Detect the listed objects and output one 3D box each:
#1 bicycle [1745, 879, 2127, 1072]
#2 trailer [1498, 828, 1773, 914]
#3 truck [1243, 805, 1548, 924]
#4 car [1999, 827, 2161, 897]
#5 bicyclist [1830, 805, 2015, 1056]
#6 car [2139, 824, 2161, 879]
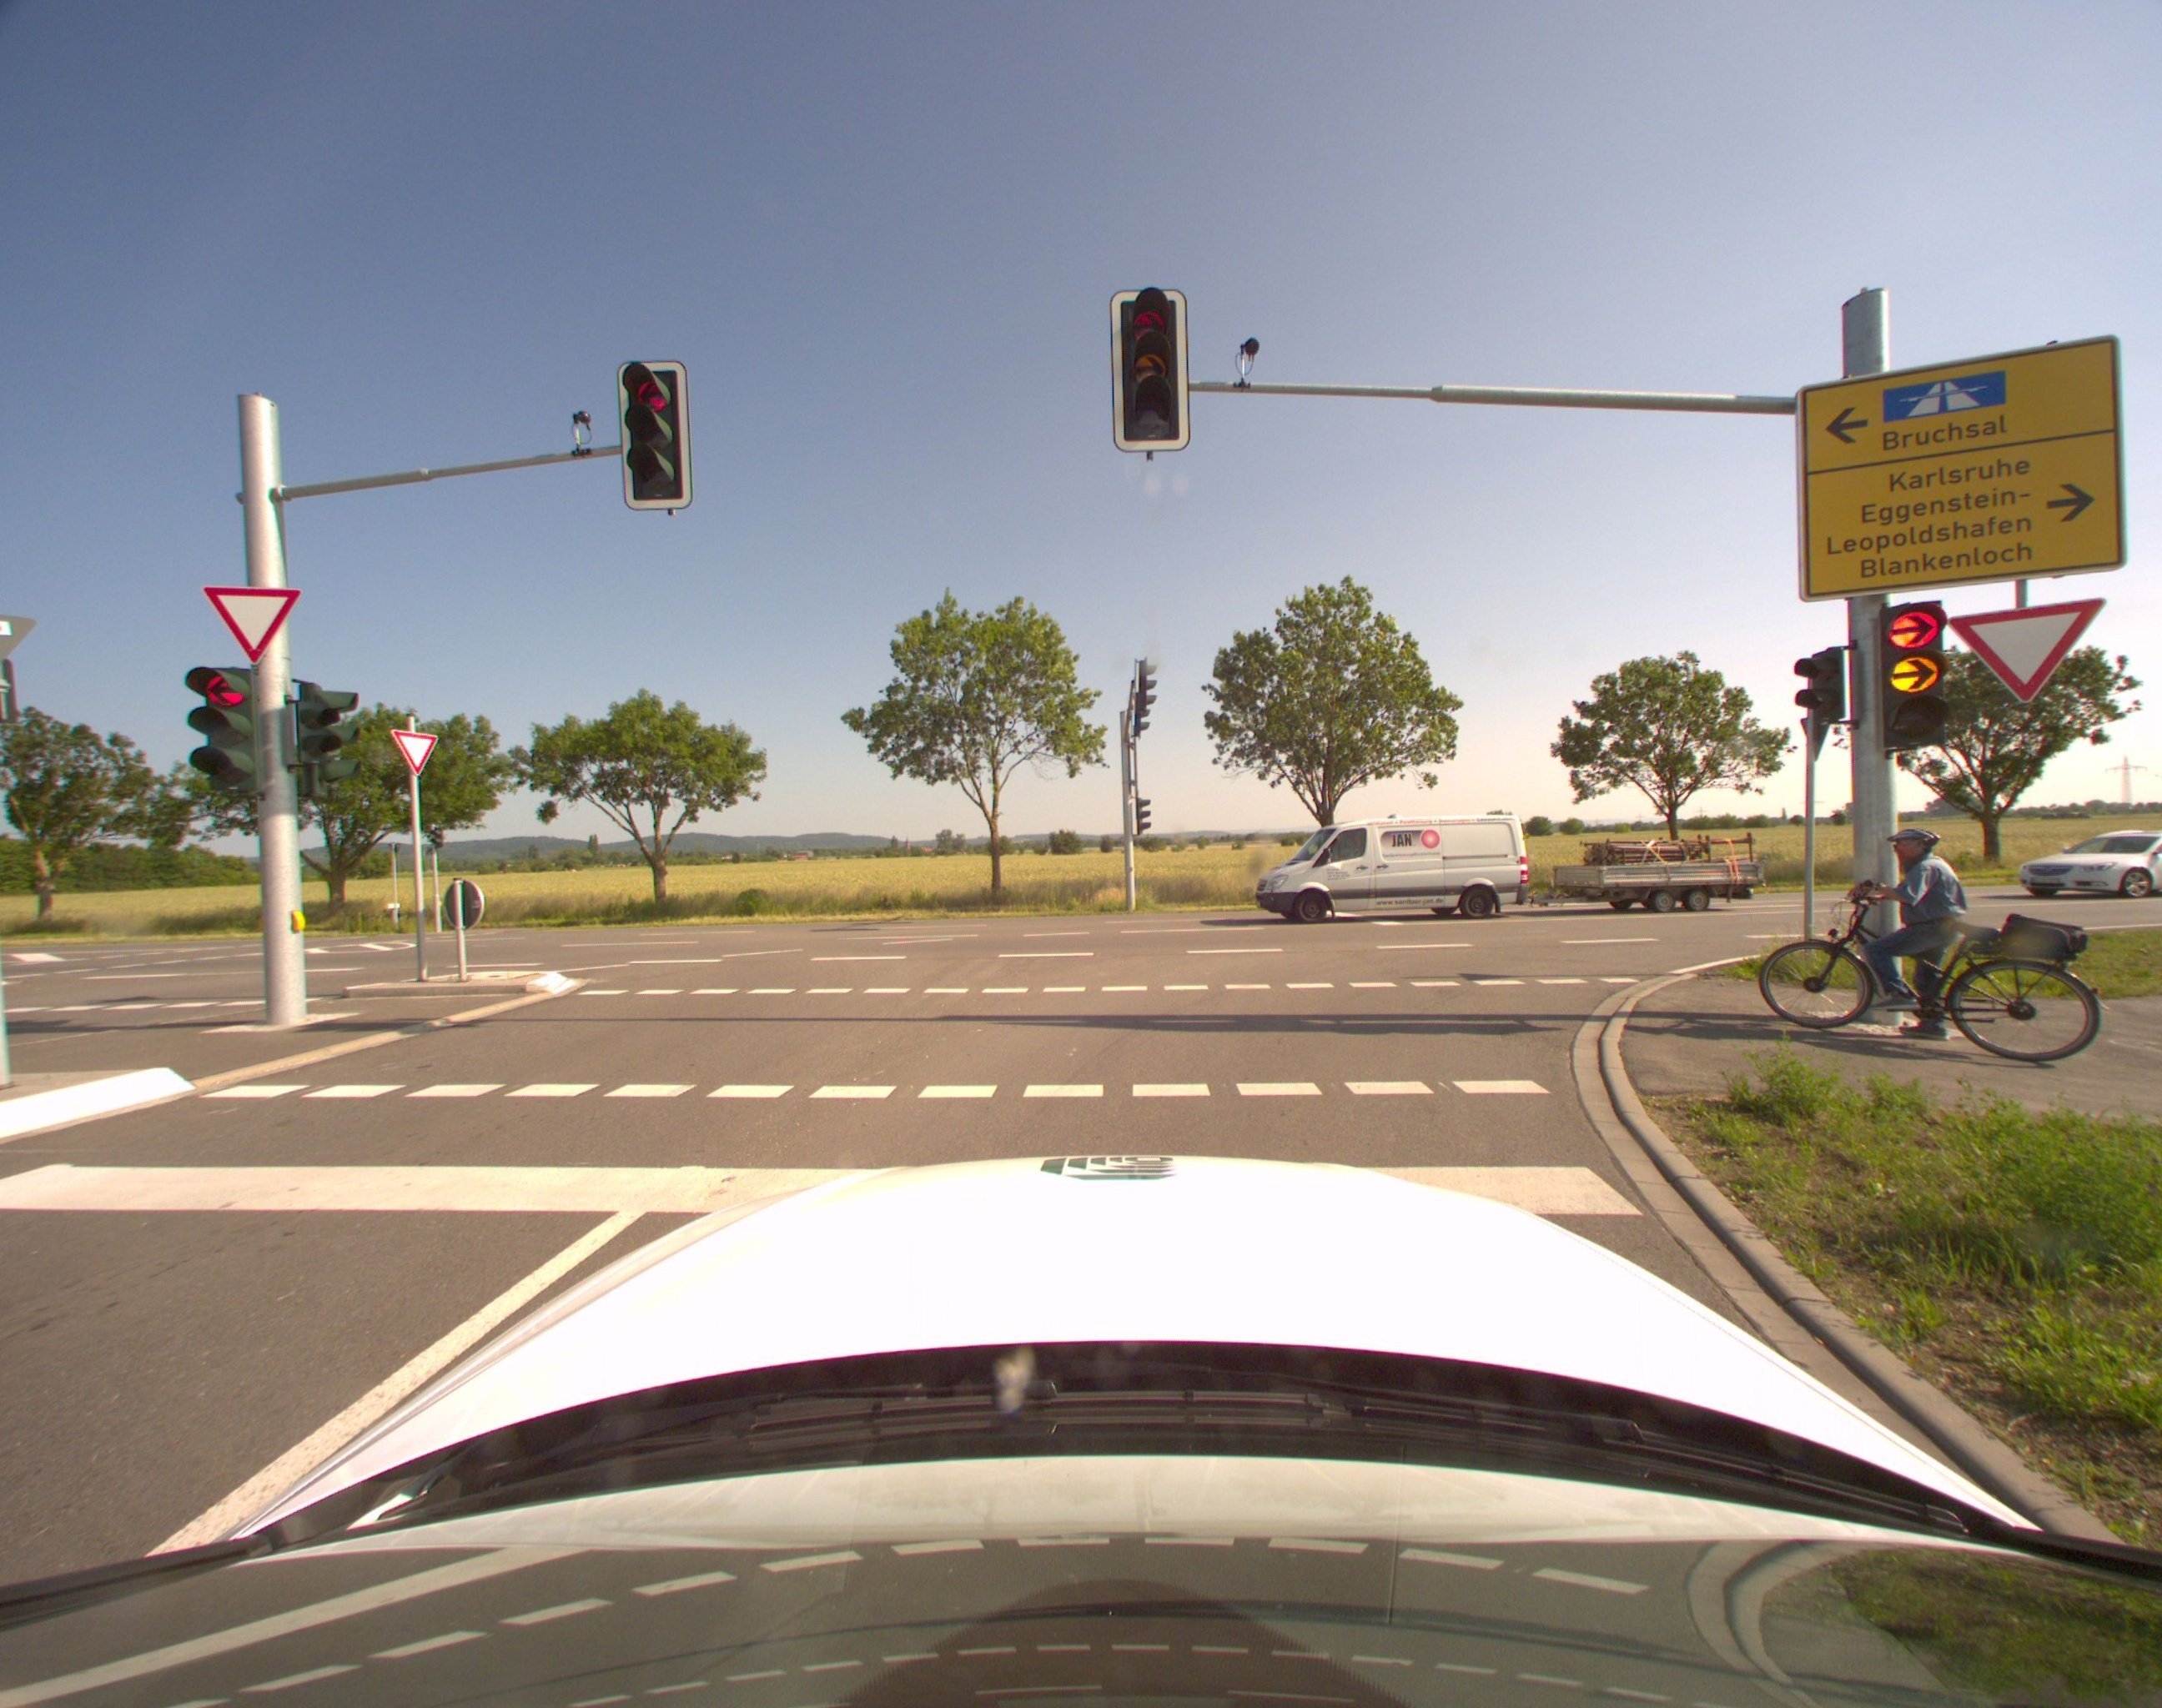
[{"bbox_3d":[6.428,0.830,6.284,0.685,1.151,1.922,0,2,-44],"label":"bicycle"},{"bbox_3d":[12.618,0.380,18.779,4.979,1.738,1.981,-2,-1,0],"label":"trailer"},{"bbox_3d":[7.028,0.243,18.731,6.156,2.405,2.072,-2,-1,1],"label":"truck"},{"bbox_3d":[24.643,0.143,18.991,4.682,1.492,1.763,-2,-1,-3],"label":"car"},{"bbox_3d":[6.442,0.525,6.271,0.623,1.765,0.906,0,1,-44],"label":"bicyclist"},{"bbox_3d":[34.391,-0.160,24.031,3.978,1.625,1.888,-2,-2,-3],"label":"car"}]
